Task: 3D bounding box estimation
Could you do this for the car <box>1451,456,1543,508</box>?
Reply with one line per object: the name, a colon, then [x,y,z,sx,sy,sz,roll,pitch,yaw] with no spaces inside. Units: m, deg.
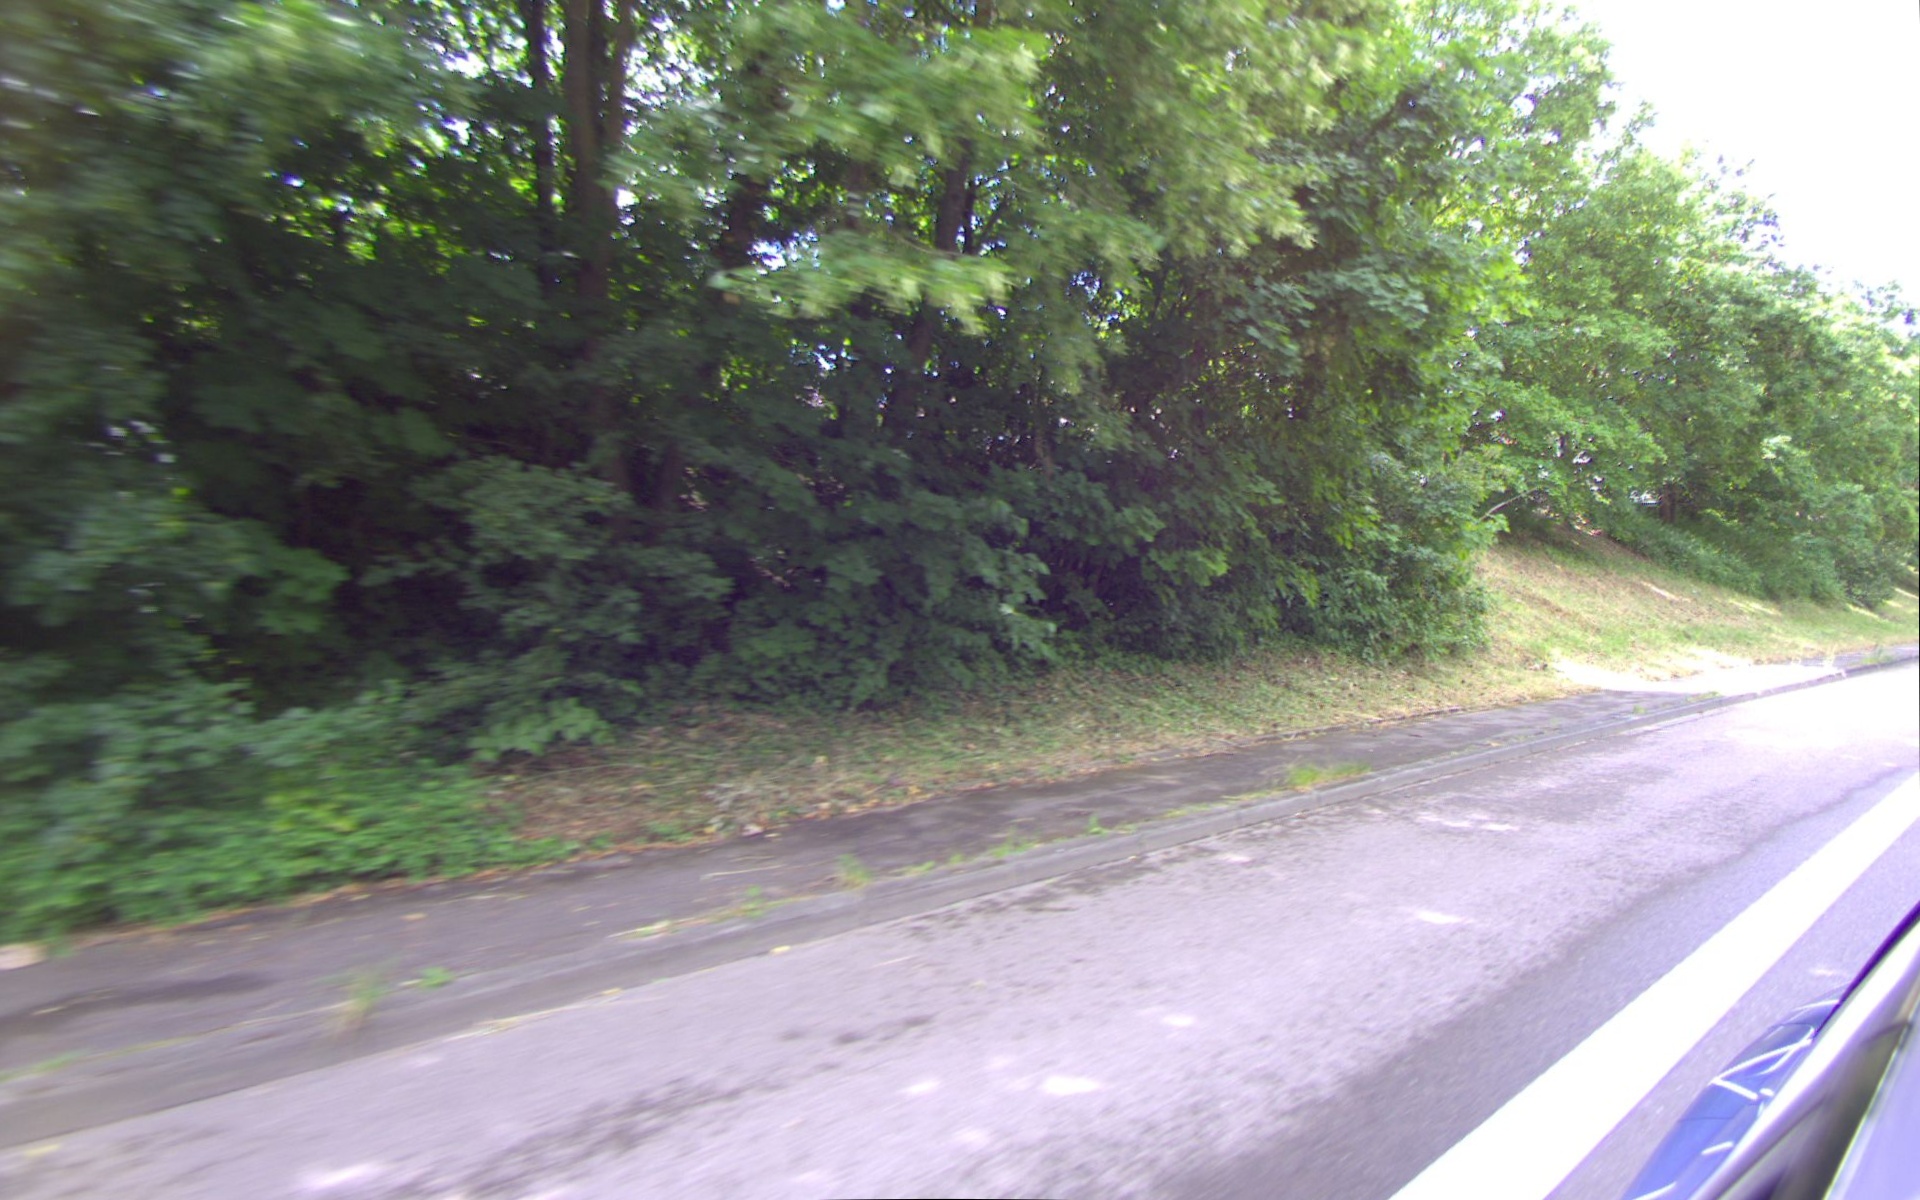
car: [20.212,-4.365,38.013,3.927,1.517,1.777,0,0,-41]
